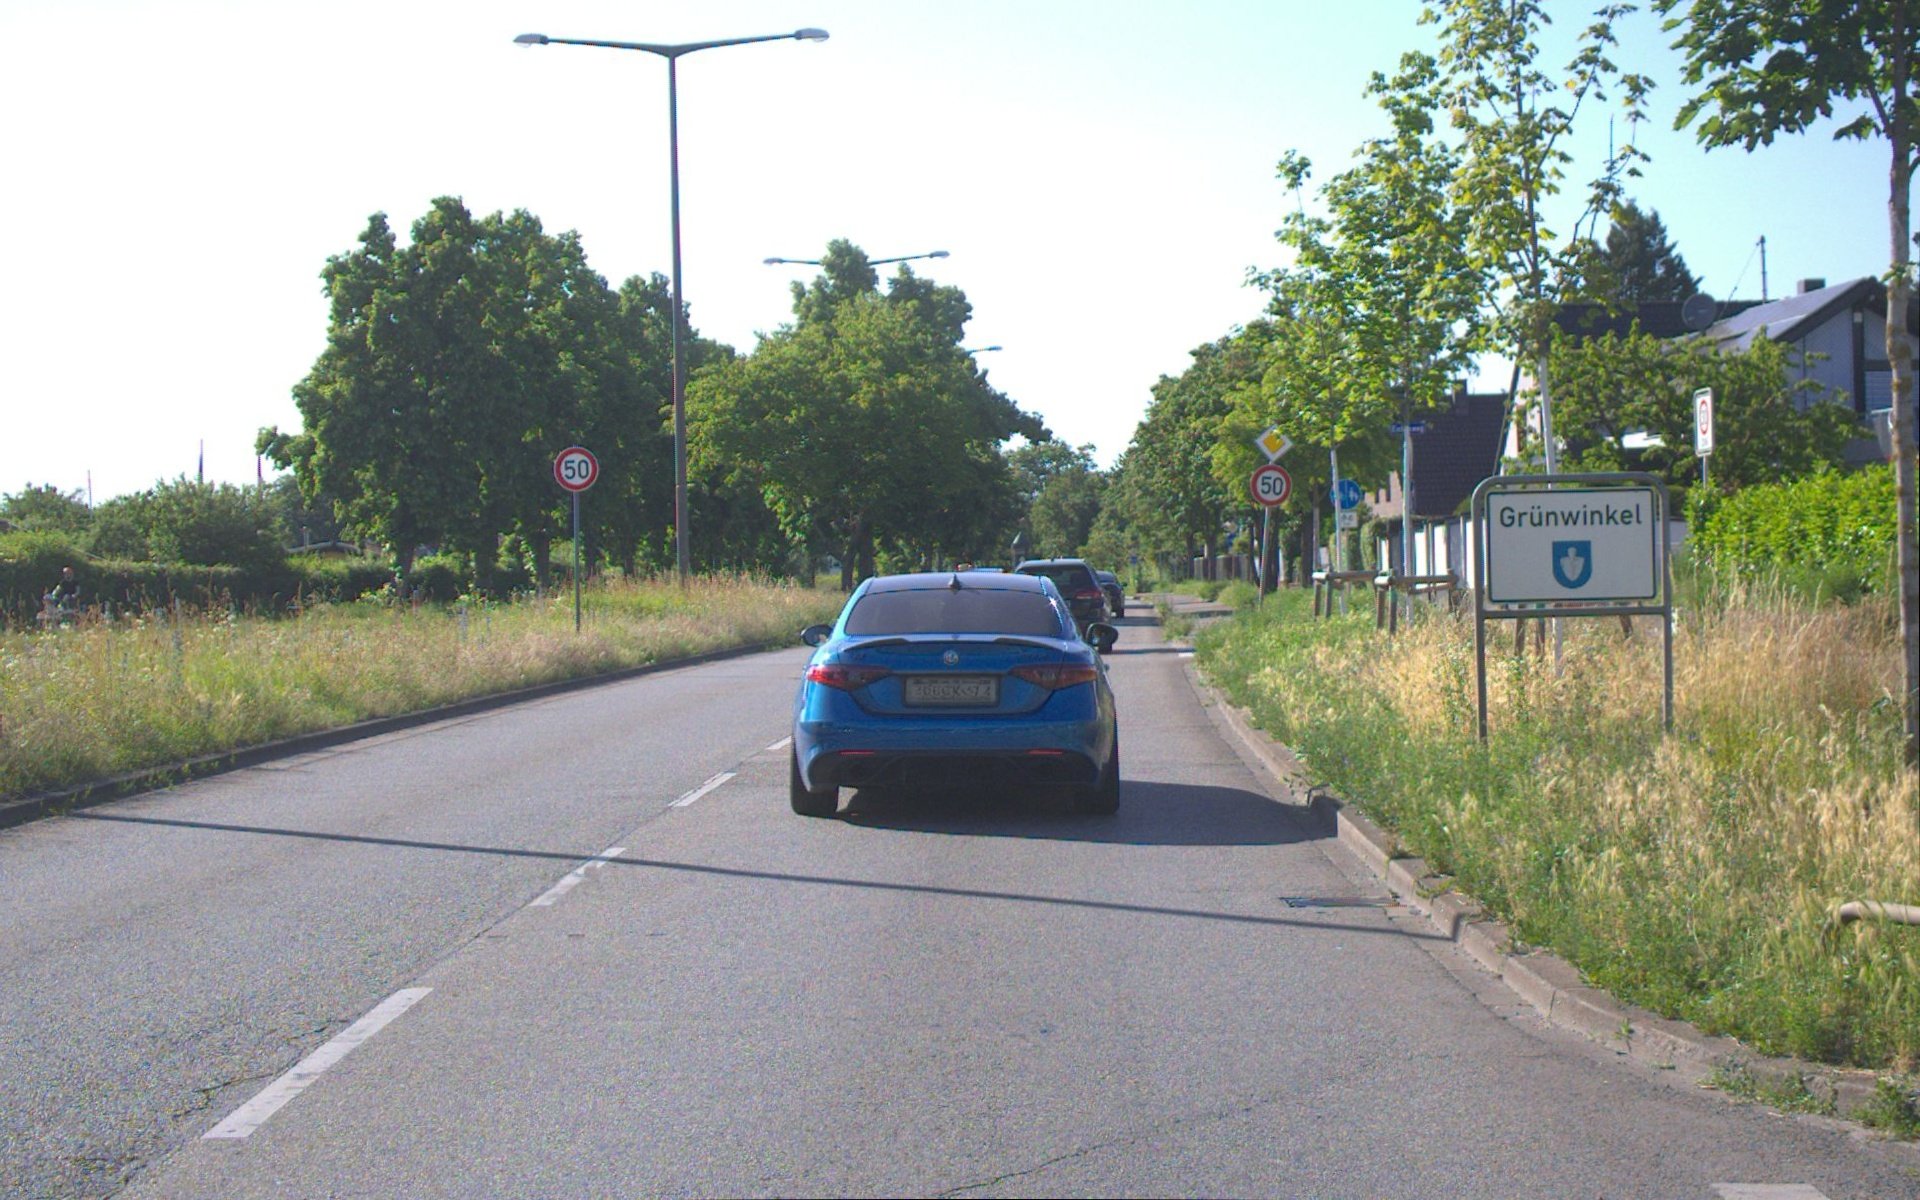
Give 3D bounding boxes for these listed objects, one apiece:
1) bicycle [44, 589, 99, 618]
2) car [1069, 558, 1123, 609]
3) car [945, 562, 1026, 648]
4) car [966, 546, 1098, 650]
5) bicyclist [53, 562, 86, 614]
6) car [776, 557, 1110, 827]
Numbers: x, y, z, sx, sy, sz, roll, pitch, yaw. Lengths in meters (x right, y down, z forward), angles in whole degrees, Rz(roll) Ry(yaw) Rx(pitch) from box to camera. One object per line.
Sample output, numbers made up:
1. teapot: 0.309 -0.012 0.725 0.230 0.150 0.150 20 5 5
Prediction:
1. bicycle: -21.658 0.076 83.817 0.565 0.693 1.874 0 1 10
2. car: 4.311 -0.519 108.828 1.661 1.574 3.808 0 0 3
3. car: 0.640 0.096 82.913 1.793 2.007 4.000 -1 0 2
4. car: 1.107 -0.055 54.656 1.915 1.574 4.182 0 1 -1
5. bicyclist: -21.678 -0.291 83.670 0.583 1.252 0.576 0 0 10
6. car: -0.053 0.481 21.046 1.838 1.469 4.184 0 1 1
